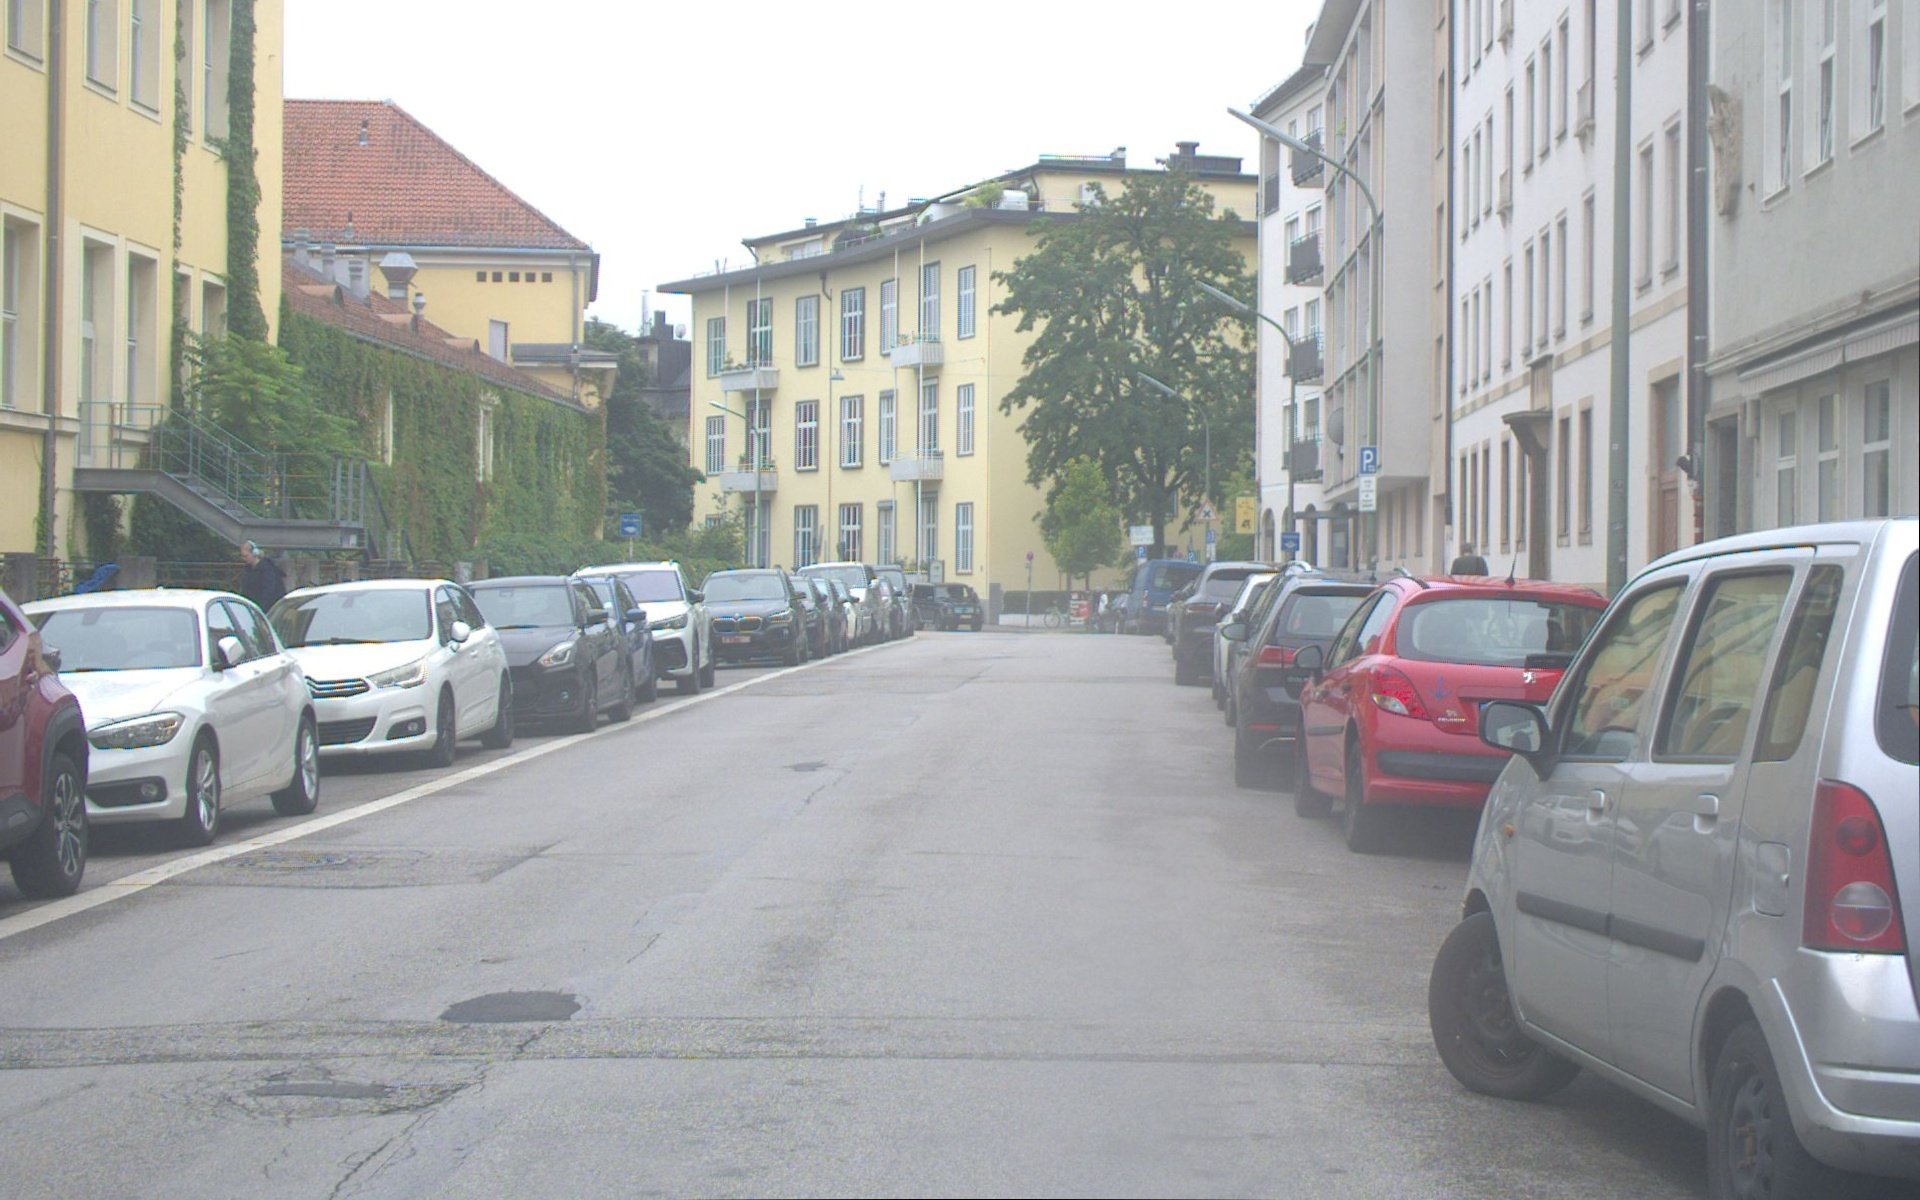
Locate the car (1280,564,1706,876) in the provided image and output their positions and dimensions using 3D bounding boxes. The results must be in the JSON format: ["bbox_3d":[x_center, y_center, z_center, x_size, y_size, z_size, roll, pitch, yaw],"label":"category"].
[{"bbox_3d":[2.891,0.588,19.472,1.687,1.495,4.147,2,1,-1],"label":"car"}]

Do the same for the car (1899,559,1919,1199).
[{"bbox_3d":[2.351,0.715,3.431,1.742,1.489,4.548,0,1,2],"label":"car"}]

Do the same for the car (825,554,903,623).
[{"bbox_3d":[-2.416,-0.300,87.571,1.697,1.637,4.490,-3,0,1],"label":"car"}]

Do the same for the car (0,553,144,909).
[{"bbox_3d":[-4.983,0.584,14.469,1.958,1.477,4.529,-3,0,0],"label":"car"}]

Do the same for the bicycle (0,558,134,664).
[{"bbox_3d":[-10.901,0.134,41.679,1.626,1.264,0.527,-1,1,4],"label":"bicycle"}]

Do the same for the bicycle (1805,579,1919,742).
[{"bbox_3d":[6.595,0.392,23.655,1.842,1.064,0.515,-1,1,-40],"label":"bicycle"}]

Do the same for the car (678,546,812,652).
[{"bbox_3d":[-3.491,-0.038,56.644,1.789,1.581,4.818,-3,0,1],"label":"car"}]

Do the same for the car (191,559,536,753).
[{"bbox_3d":[-4.699,0.395,27.738,1.785,1.427,4.652,0,0,2],"label":"car"}]

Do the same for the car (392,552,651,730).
[{"bbox_3d":[-4.125,0.351,32.949,1.699,1.492,4.148,-4,0,2],"label":"car"}]

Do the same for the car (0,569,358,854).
[{"bbox_3d":[-4.900,0.586,20.161,1.794,1.424,4.665,-3,0,1],"label":"car"}]

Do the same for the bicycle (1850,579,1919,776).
[{"bbox_3d":[6.241,0.432,20.786,2.086,1.135,0.584,-2,1,-41],"label":"bicycle"}]

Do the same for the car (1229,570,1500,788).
[{"bbox_3d":[2.795,0.496,24.521,1.688,1.397,4.363,1,0,4],"label":"car"}]

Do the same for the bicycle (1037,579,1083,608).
[{"bbox_3d":[4.074,-0.271,140.480,1.926,1.197,0.594,1,0,39],"label":"bicycle"}]

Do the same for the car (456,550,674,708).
[{"bbox_3d":[-4.304,0.290,38.072,1.703,1.497,4.495,-5,0,1],"label":"car"}]

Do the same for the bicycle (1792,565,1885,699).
[{"bbox_3d":[7.843,0.268,30.752,0.384,1.154,1.949,0,1,2],"label":"bicycle"}]

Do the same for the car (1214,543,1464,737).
[{"bbox_3d":[3.359,0.301,31.166,1.706,1.587,4.362,1,1,-1],"label":"car"}]

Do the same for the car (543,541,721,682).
[{"bbox_3d":[-4.041,0.114,43.030,1.745,1.628,4.856,-2,0,0],"label":"car"}]

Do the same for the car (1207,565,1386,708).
[{"bbox_3d":[3.599,0.353,37.357,1.673,1.424,4.530,2,1,3],"label":"car"}]

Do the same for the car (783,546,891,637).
[{"bbox_3d":[-2.729,-0.202,77.270,1.887,1.883,4.773,-3,0,4],"label":"car"}]

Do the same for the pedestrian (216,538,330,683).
[{"bbox_3d":[-8.288,0.117,41.500,0.902,1.713,1.058,-1,1,18],"label":"pedestrian"}]

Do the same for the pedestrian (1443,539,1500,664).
[{"bbox_3d":[7.285,0.029,48.979,0.723,1.757,0.904,0,-2,3],"label":"pedestrian"}]

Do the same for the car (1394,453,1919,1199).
[{"bbox_3d":[2.364,0.541,8.724,1.681,1.667,3.805,2,1,-5],"label":"car"}]

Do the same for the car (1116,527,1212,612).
[{"bbox_3d":[6.073,-0.886,102.841,2.079,2.226,5.245,4,-2,-4],"label":"car"}]

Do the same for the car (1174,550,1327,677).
[{"bbox_3d":[3.720,0.145,44.619,1.840,1.517,4.708,1,1,4],"label":"car"}]

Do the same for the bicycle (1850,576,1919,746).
[{"bbox_3d":[6.635,0.382,23.056,0.621,1.086,1.810,0,1,37],"label":"bicycle"}]
